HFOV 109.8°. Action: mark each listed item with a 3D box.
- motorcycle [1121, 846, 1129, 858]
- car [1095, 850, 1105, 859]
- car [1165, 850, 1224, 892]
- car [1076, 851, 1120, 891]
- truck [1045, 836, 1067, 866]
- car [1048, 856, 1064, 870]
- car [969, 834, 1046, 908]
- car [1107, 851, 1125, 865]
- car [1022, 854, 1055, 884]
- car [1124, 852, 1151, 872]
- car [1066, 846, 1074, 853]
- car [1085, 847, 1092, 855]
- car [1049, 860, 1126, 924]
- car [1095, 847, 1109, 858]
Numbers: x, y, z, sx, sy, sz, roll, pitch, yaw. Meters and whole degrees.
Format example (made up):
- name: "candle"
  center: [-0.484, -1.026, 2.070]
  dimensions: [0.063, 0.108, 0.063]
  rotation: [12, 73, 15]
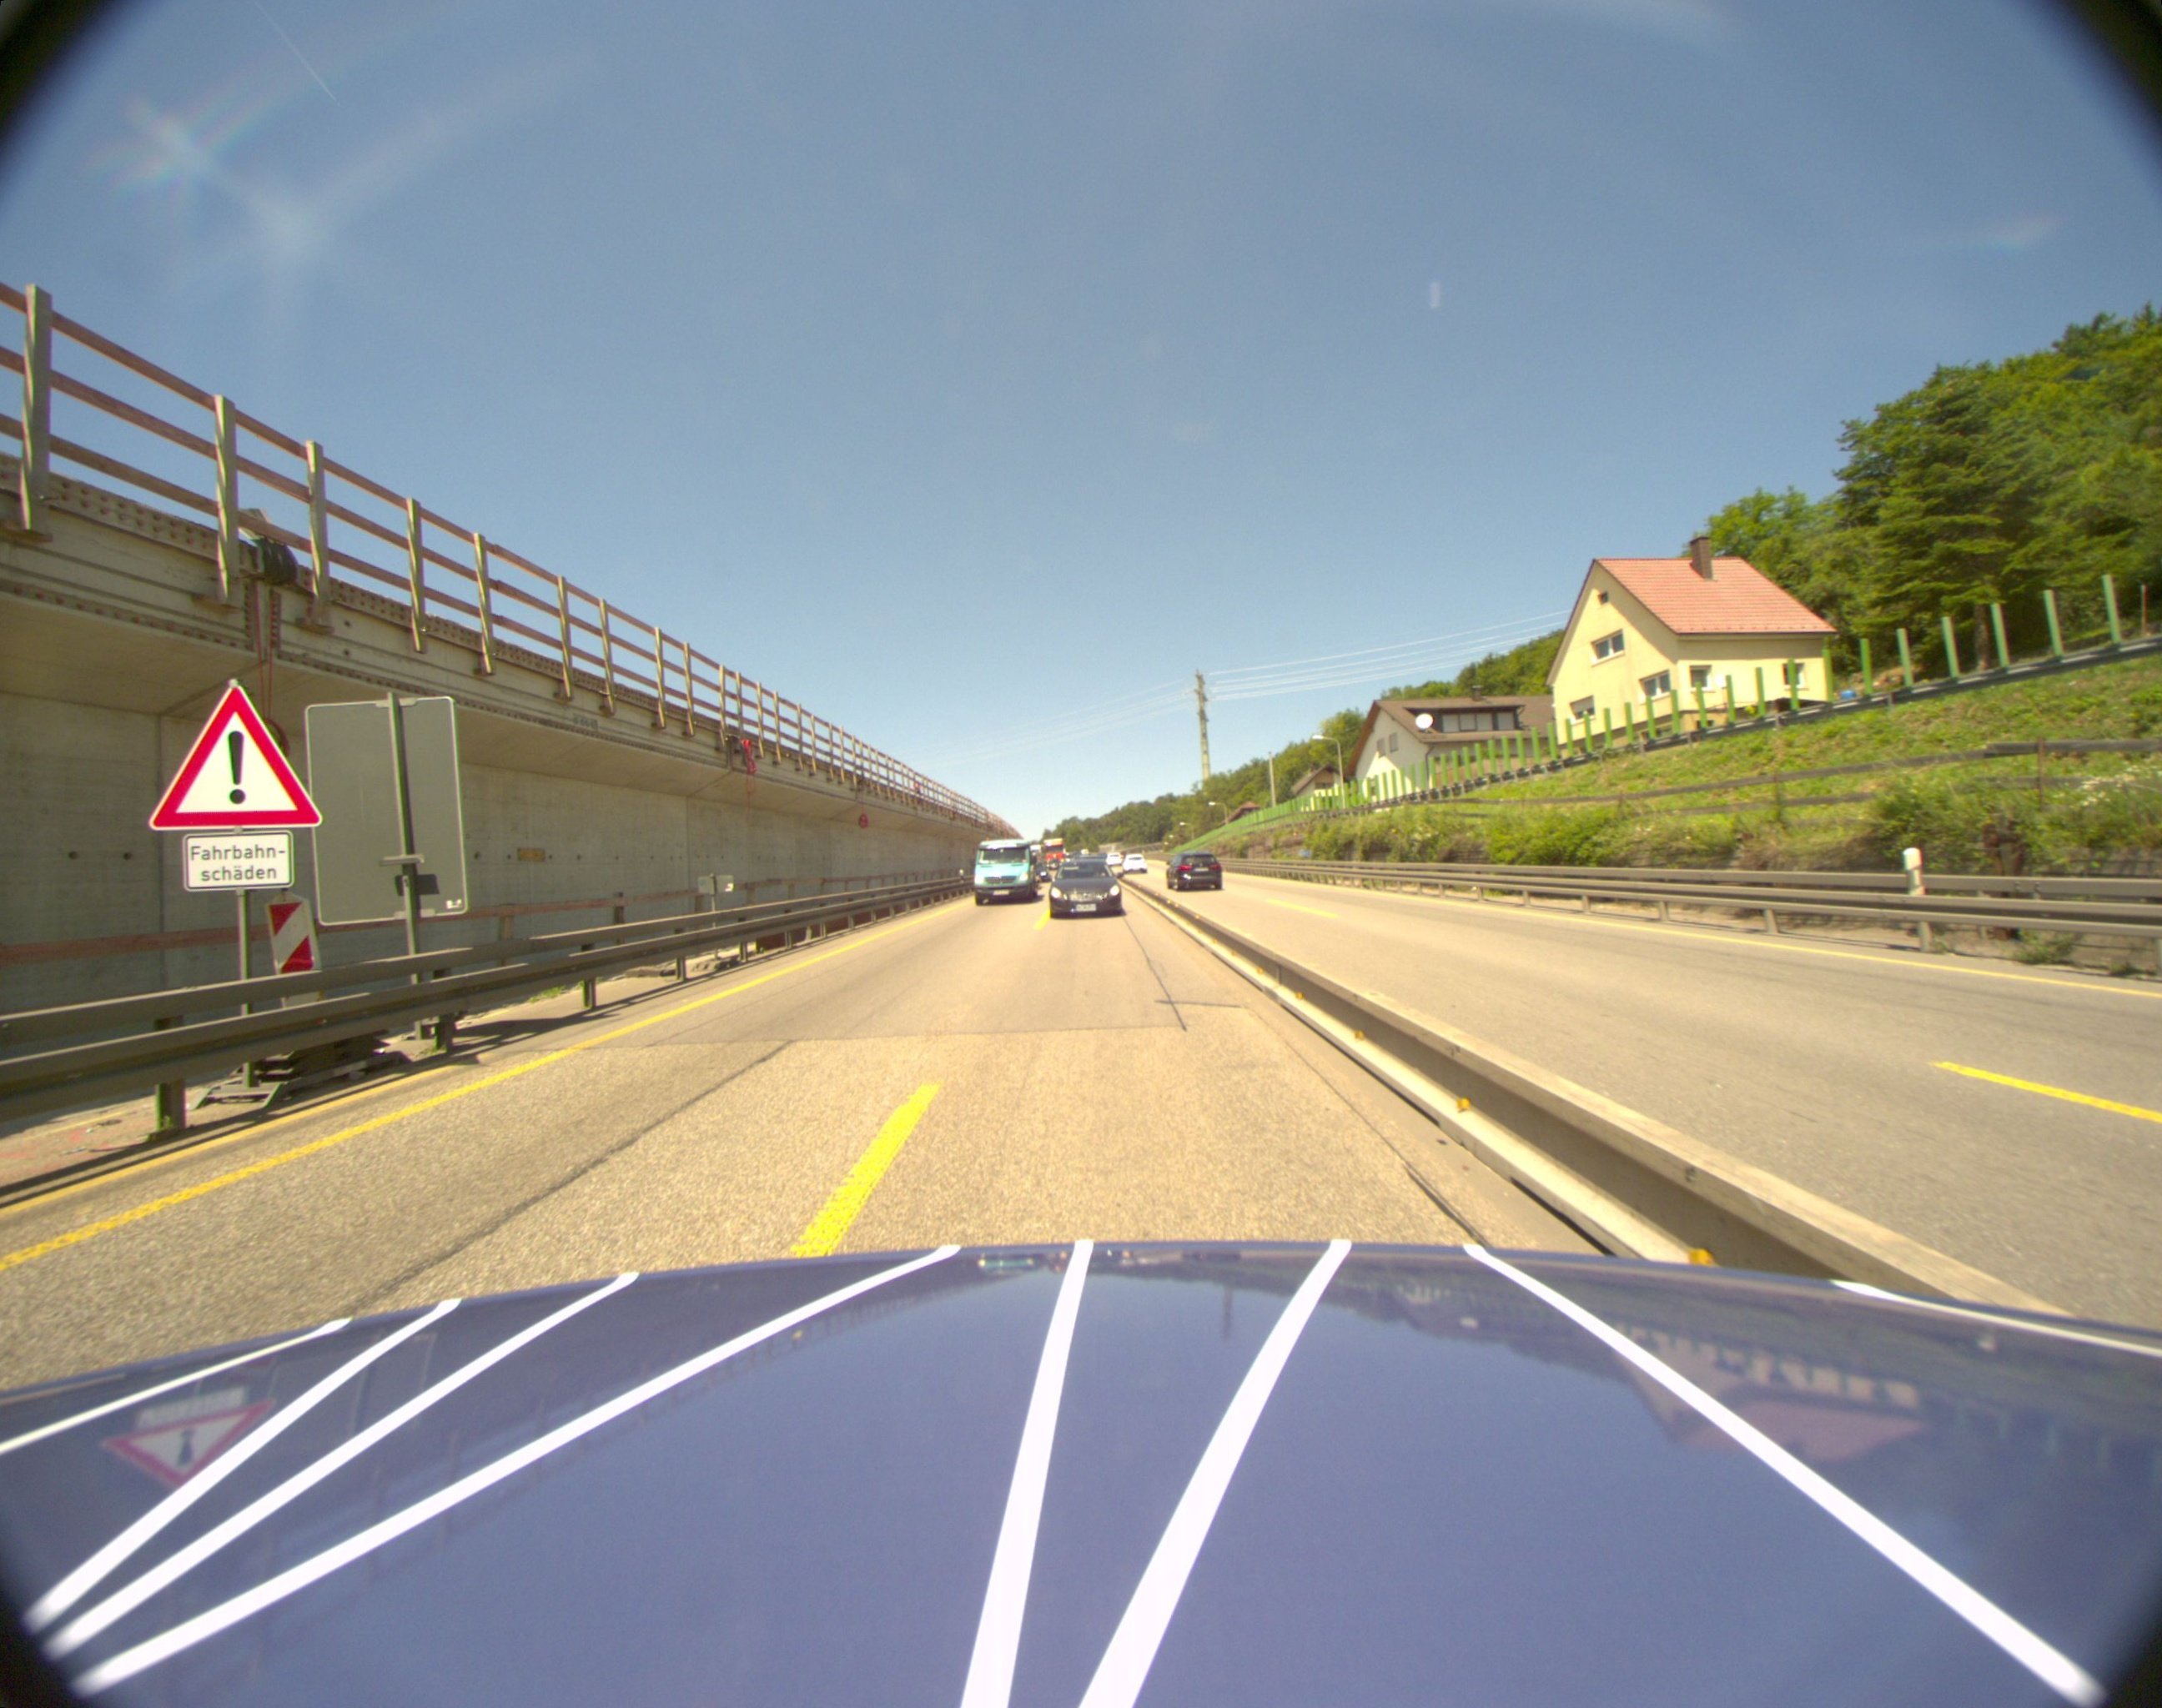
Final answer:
- name: "motorcycle"
  center: [5.817, -0.248, 101.076]
  dimensions: [0.792, 1.542, 2.621]
  rotation: [-3, 0, 0]
- name: "car"
  center: [3.668, 0.097, 149.747]
  dimensions: [1.847, 1.521, 4.293]
  rotation: [-3, 1, 0]
- name: "car"
  center: [4.562, 0.649, 31.121]
  dimensions: [1.704, 1.552, 4.103]
  rotation: [-2, 0, -1]
- name: "car"
  center: [0.815, 0.805, 38.352]
  dimensions: [1.860, 1.650, 3.999]
  rotation: [-6, 1, -2]
- name: "truck"
  center: [-3.646, -0.470, 111.502]
  dimensions: [2.651, 3.978, 11.192]
  rotation: [-6, 1, -2]
- name: "car"
  center: [-3.097, 1.128, 93.537]
  dimensions: [1.674, 1.499, 3.647]
  rotation: [-6, 1, 0]
- name: "car"
  center: [-2.646, 0.550, 29.089]
  dimensions: [1.968, 2.367, 7.209]
  rotation: [-4, 1, 1]
- name: "car"
  center: [3.897, 0.420, 85.138]
  dimensions: [1.771, 1.477, 3.865]
  rotation: [-3, 0, -1]
- name: "car"
  center: [-2.794, 0.976, 50.773]
  dimensions: [1.859, 1.650, 3.999]
  rotation: [-6, 1, 0]
- name: "car"
  center: [4.354, 0.589, 58.934]
  dimensions: [1.695, 1.477, 3.749]
  rotation: [-3, 0, -1]
- name: "car"
  center: [-3.554, -1.458, 243.070]
  dimensions: [1.830, 1.914, 5.241]
  rotation: [-4, 0, -5]
- name: "car"
  center: [1.884, -0.840, 195.189]
  dimensions: [1.600, 1.823, 4.752]
  rotation: [-3, 1, 0]
- name: "car"
  center: [0.060, 0.928, 20.370]
  dimensions: [1.793, 1.440, 4.296]
  rotation: [-2, 0, -3]
- name: "car"
  center: [3.140, -0.188, 112.976]
  dimensions: [1.768, 1.601, 3.891]
  rotation: [-3, 0, -1]
